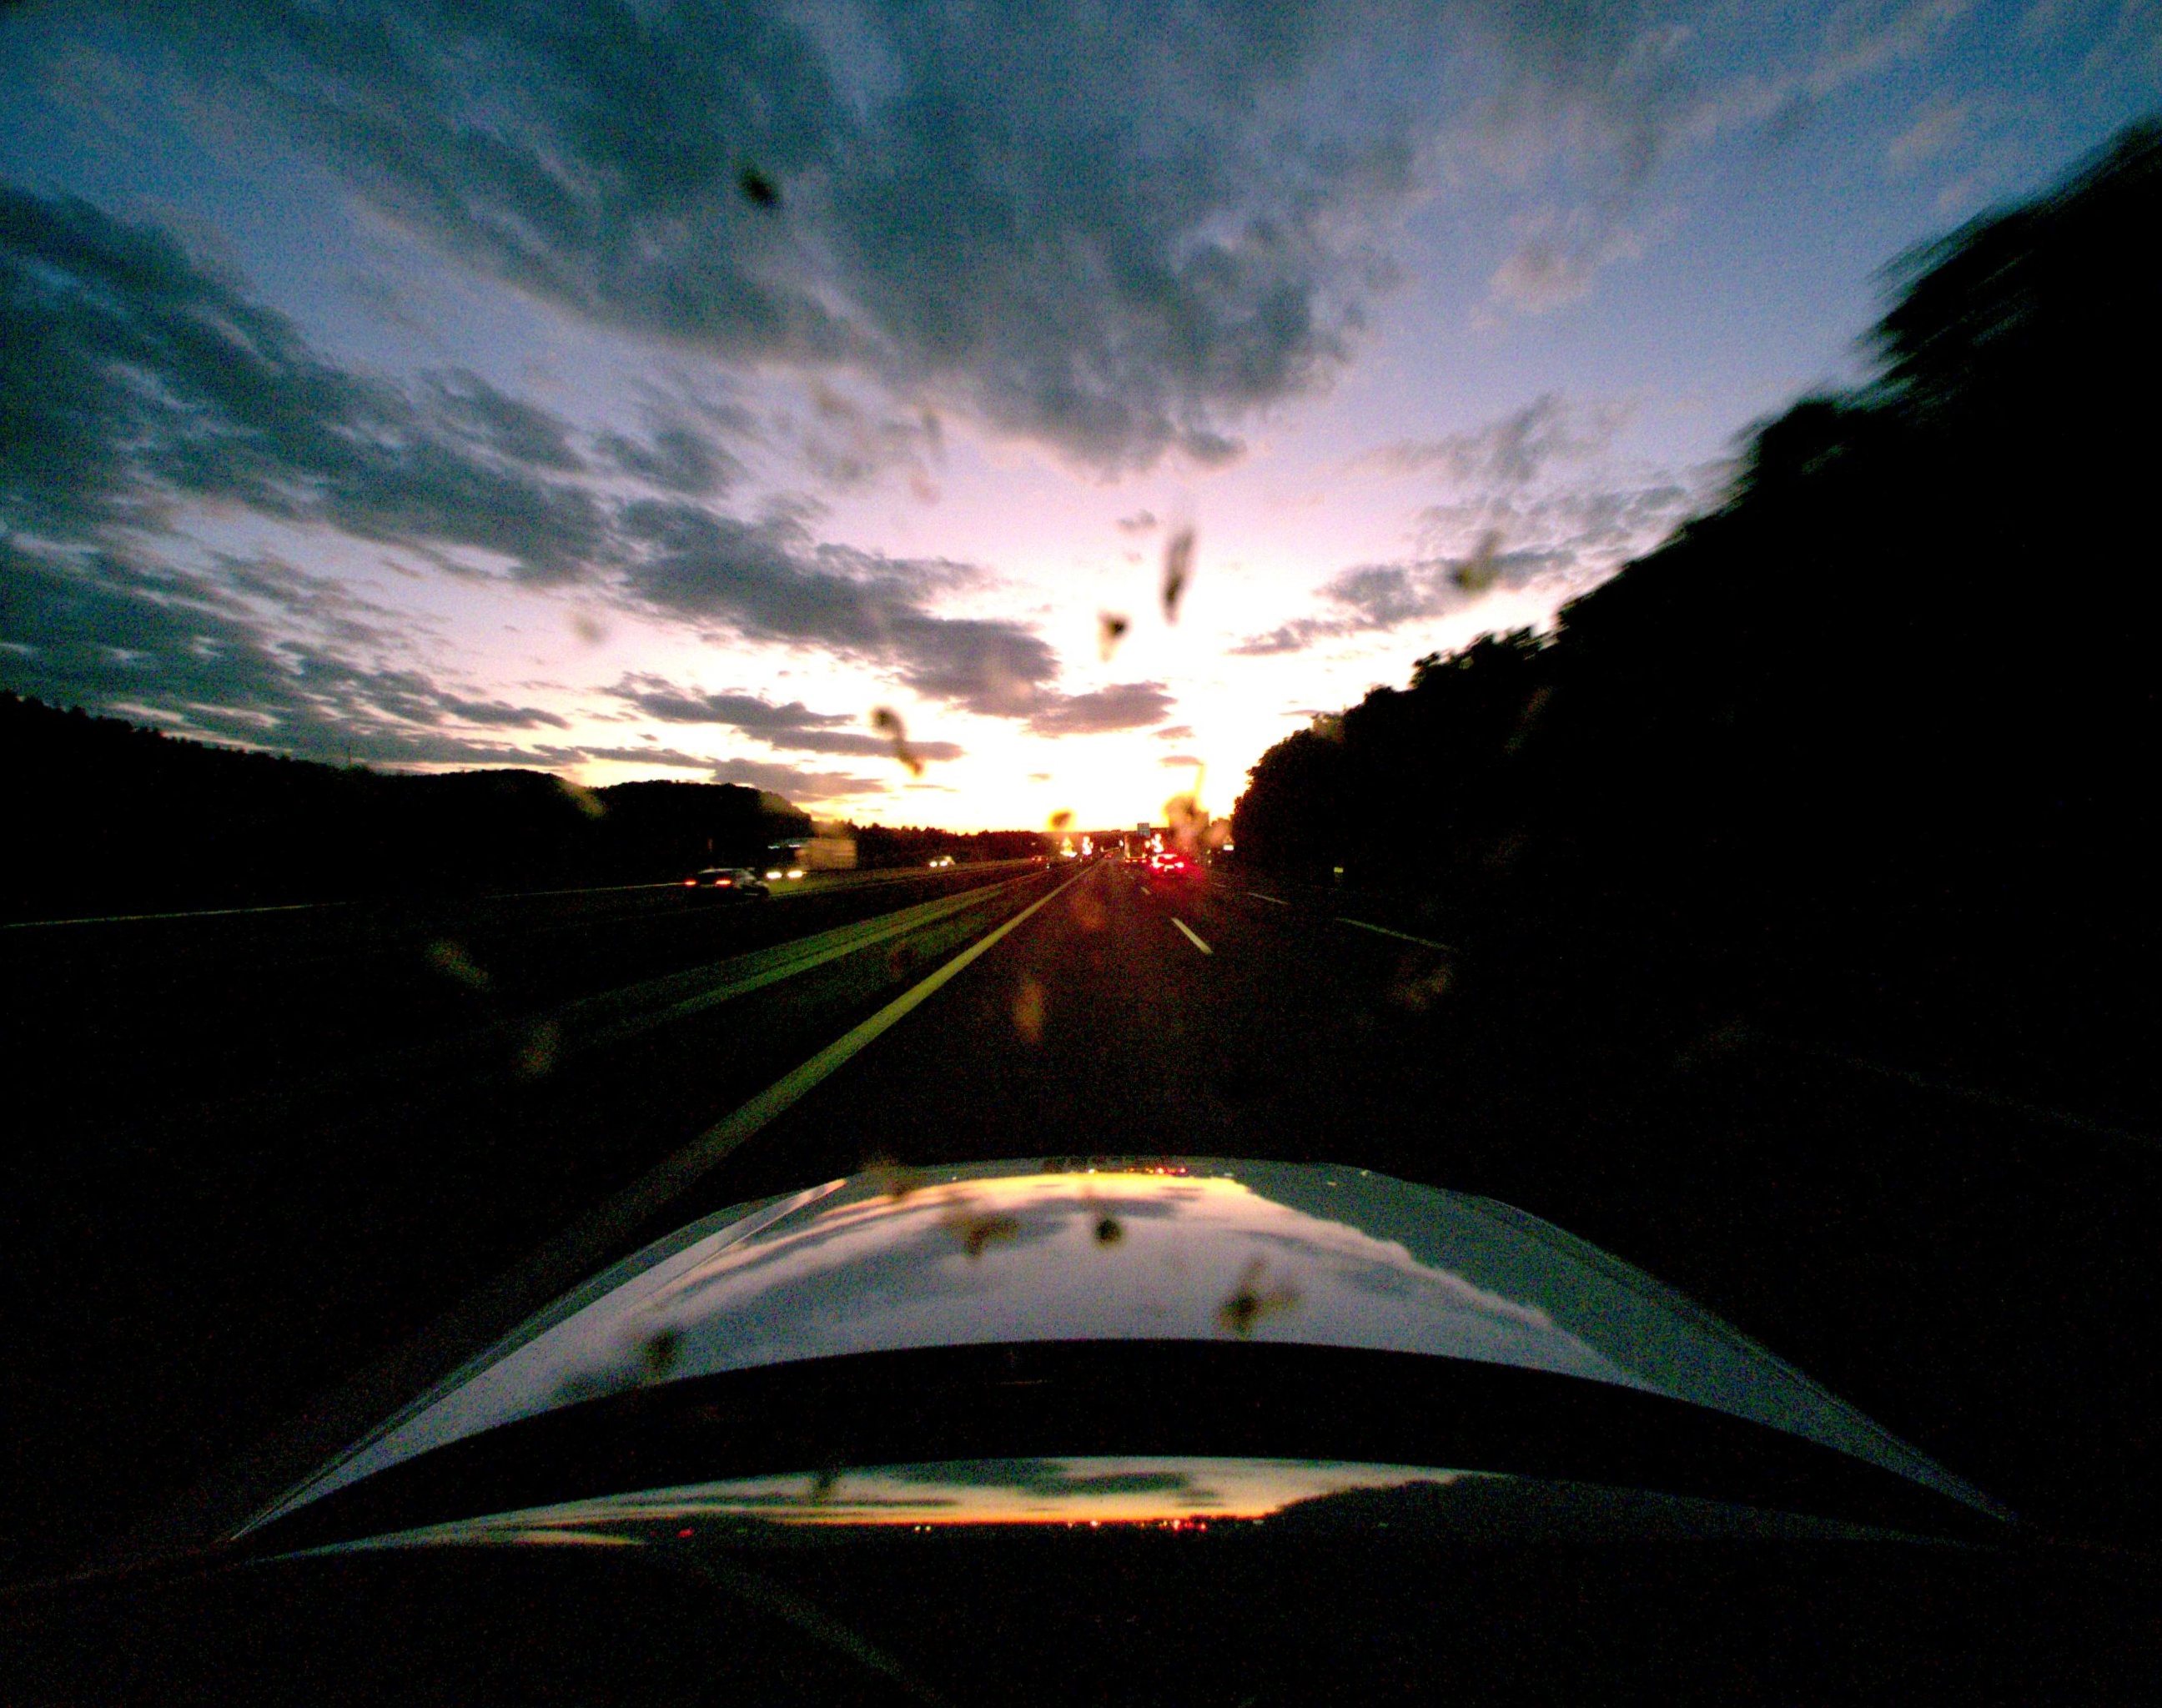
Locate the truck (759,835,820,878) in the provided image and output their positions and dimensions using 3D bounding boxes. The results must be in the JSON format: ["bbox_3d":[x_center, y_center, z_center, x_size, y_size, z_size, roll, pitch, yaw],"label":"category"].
[{"bbox_3d":[-26.183,0.250,73.475,3.298,3.619,5.499,-3,0,1],"label":"truck"}]

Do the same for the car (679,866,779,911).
[{"bbox_3d":[-14.052,1.344,32.815,1.865,1.561,4.521,-3,0,2],"label":"car"}]

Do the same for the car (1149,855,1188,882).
[{"bbox_3d":[5.164,0.840,48.703,1.908,1.442,4.000,-3,0,0],"label":"car"}]

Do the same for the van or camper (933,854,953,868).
[{"bbox_3d":[-20.329,1.022,119.858,1.884,1.907,5.540,-1,0,0],"label":"van or camper"}]

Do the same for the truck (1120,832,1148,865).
[{"bbox_3d":[7.434,-0.668,115.321,3.497,4.301,9.894,-3,0,2],"label":"truck"}]

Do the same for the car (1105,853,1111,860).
[{"bbox_3d":[8.506,0.742,258.159,1.986,2.013,4.001,-3,0,2],"label":"car"}]

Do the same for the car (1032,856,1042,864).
[{"bbox_3d":[-9.206,1.329,170.649,1.631,1.546,3.397,-3,0,2],"label":"car"}]

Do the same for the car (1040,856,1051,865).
[{"bbox_3d":[-6.517,1.225,150.696,1.706,1.605,3.723,-3,0,2],"label":"car"}]

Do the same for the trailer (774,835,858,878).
[{"bbox_3d":[-25.975,0.233,80.790,3.315,3.765,13.889,-3,0,1],"label":"trailer"}]
